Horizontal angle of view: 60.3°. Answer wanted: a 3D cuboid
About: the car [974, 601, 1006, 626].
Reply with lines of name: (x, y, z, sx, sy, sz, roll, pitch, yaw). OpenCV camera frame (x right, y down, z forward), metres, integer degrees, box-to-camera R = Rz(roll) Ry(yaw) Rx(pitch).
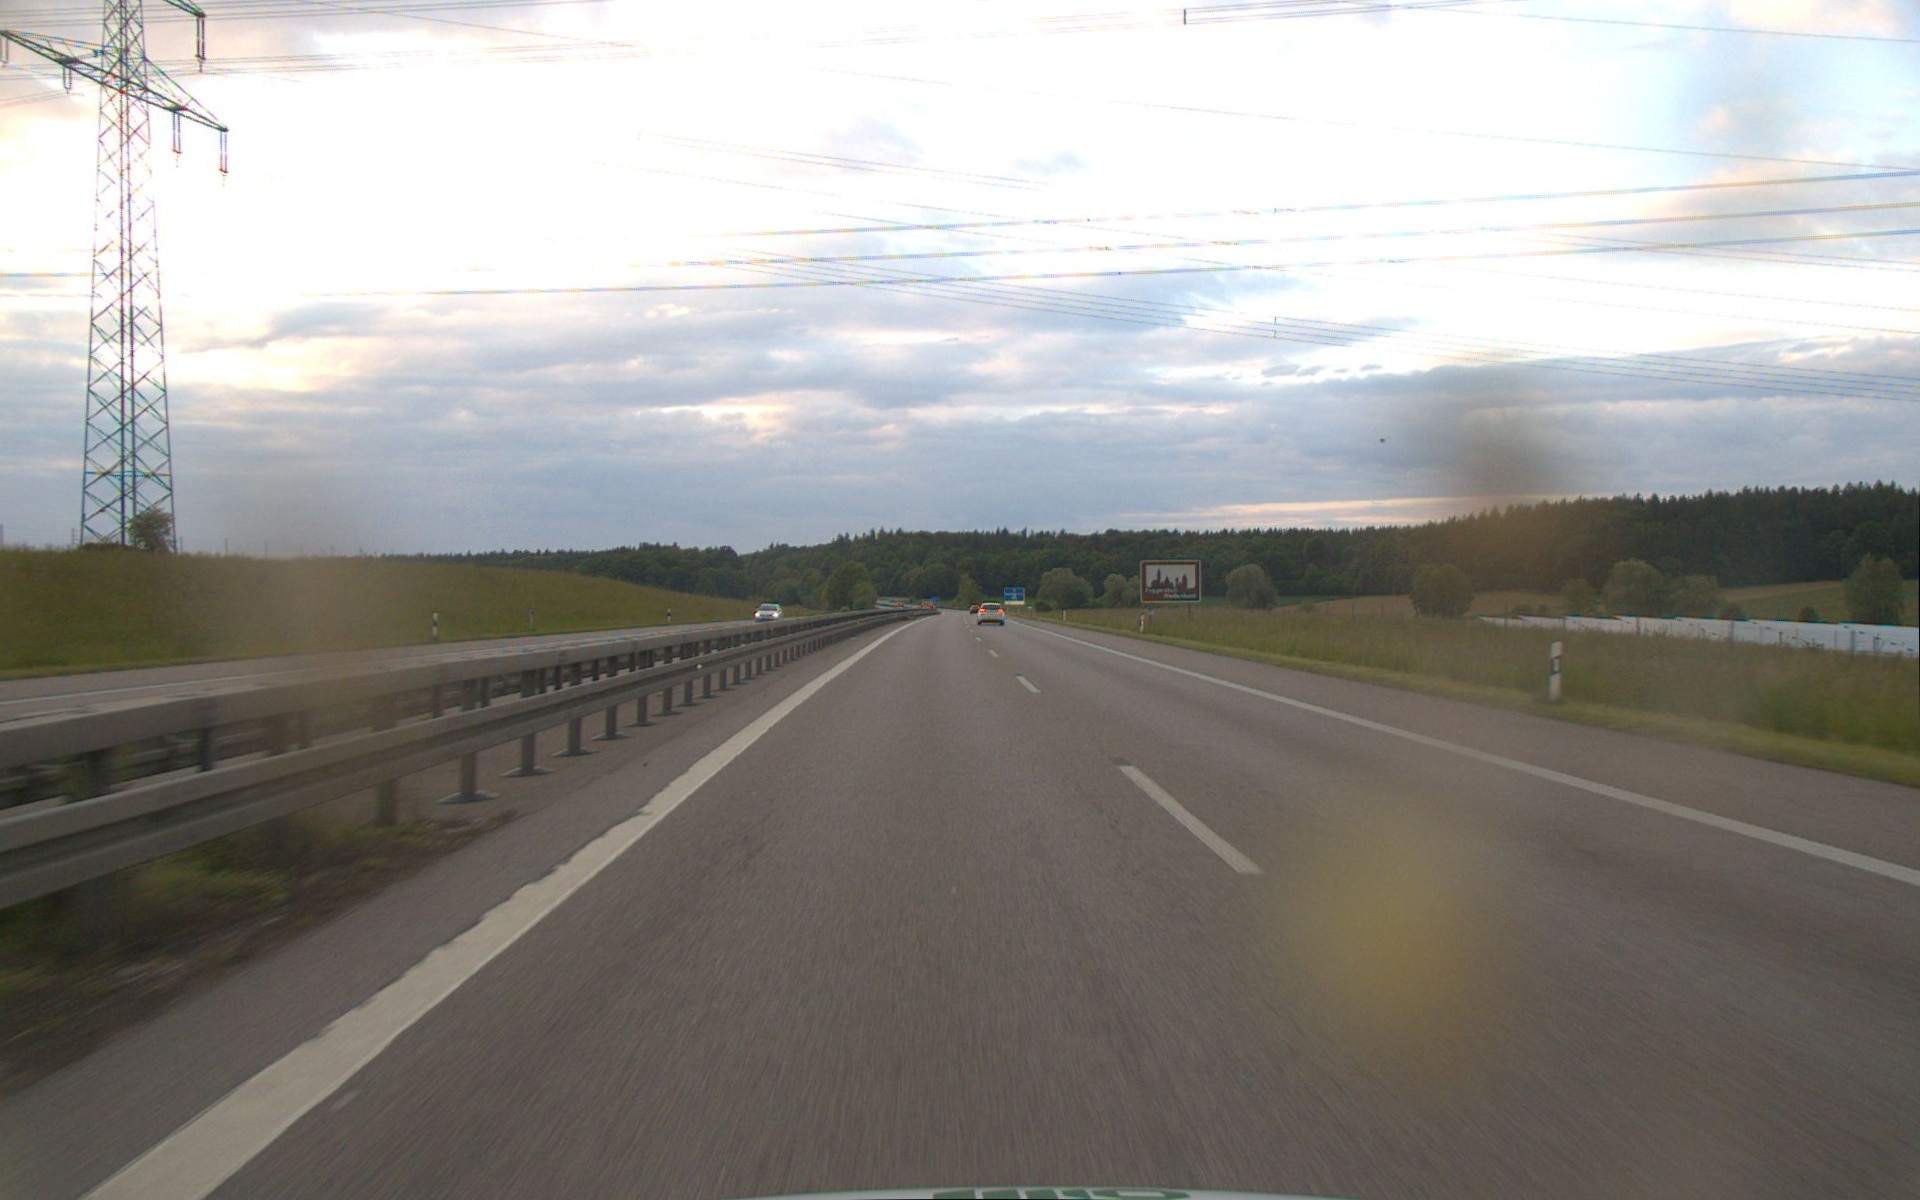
car: (1.974, 0.900, 111.081, 1.912, 1.558, 4.079, 1, 0, -2)

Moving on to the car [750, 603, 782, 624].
car: (-14.573, 0.982, 124.409, 1.729, 1.508, 5.334, 1, 0, 0)
